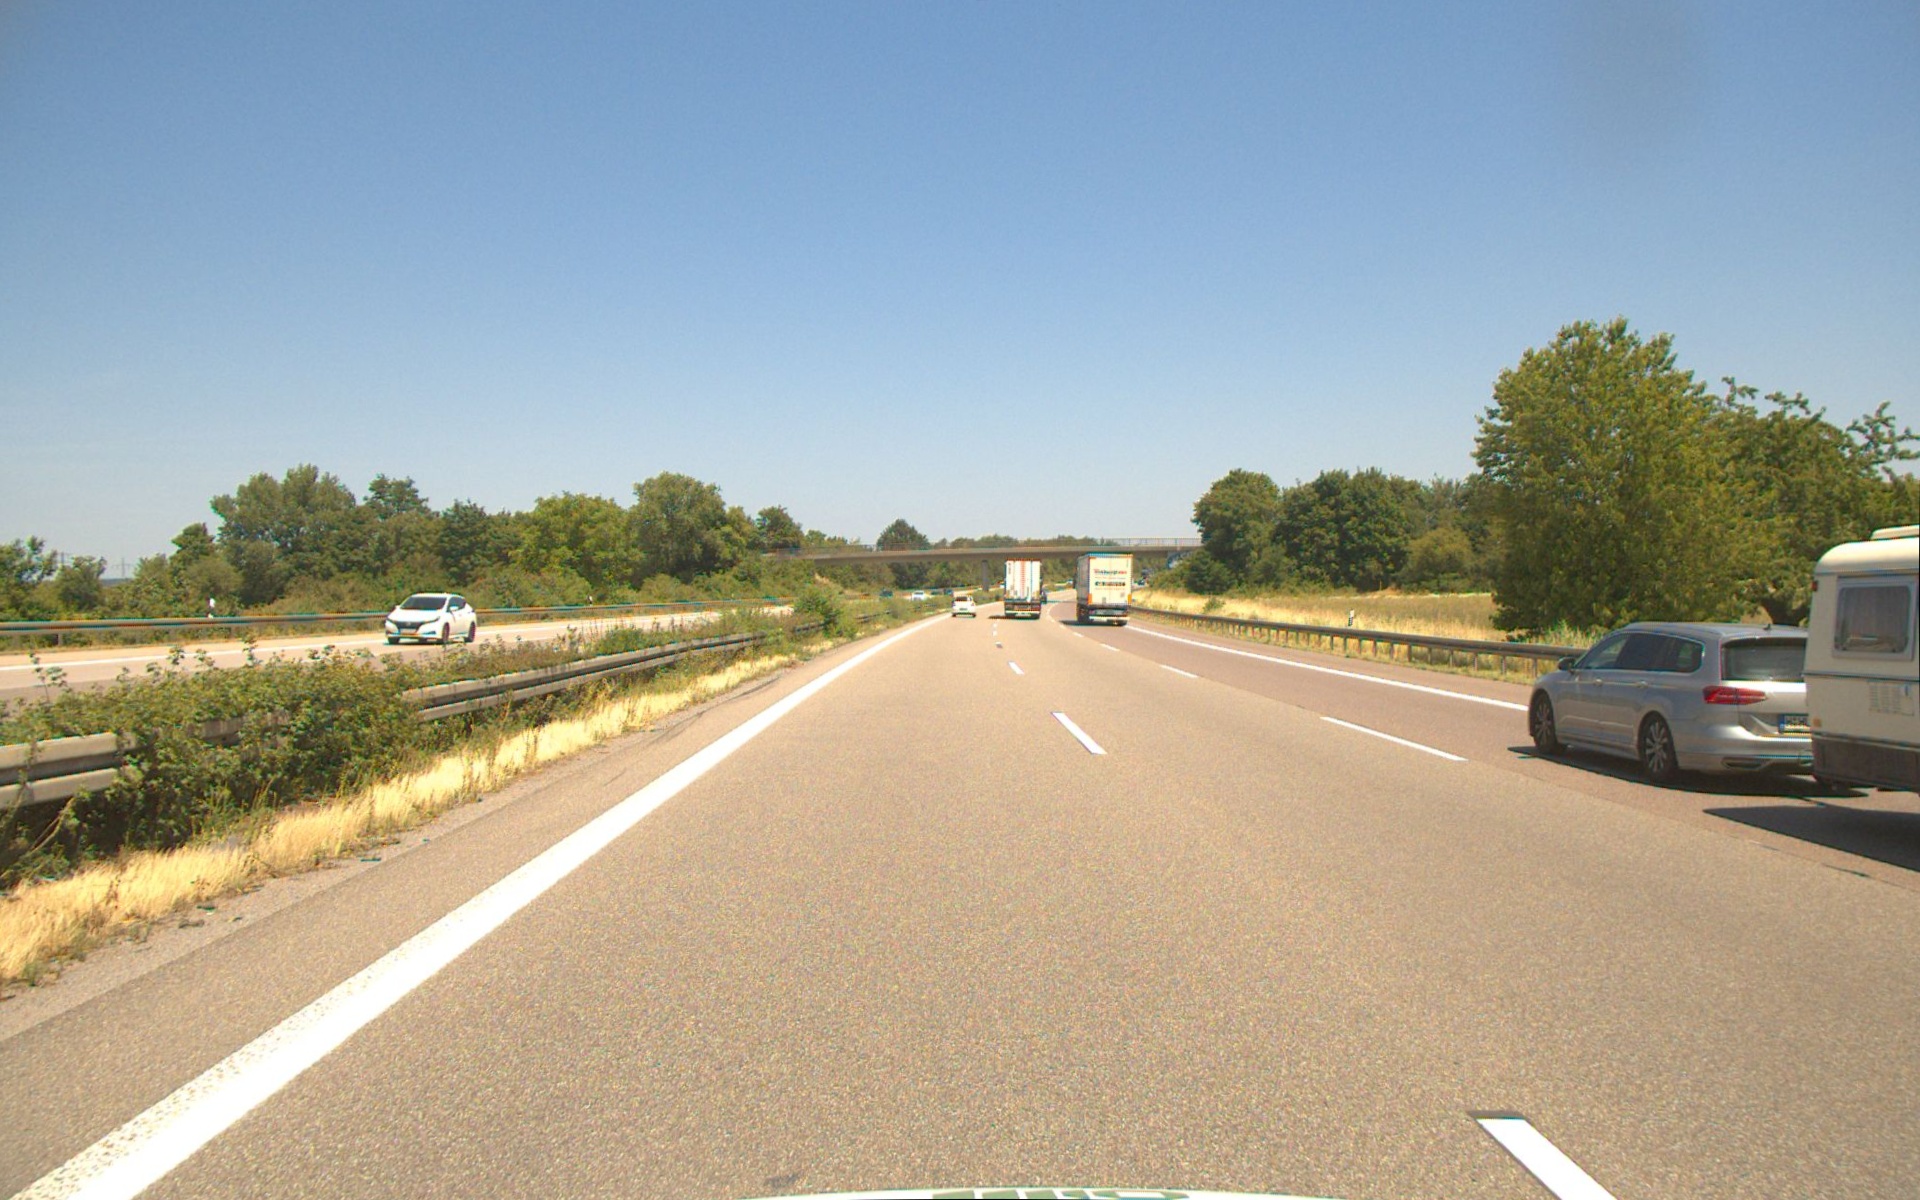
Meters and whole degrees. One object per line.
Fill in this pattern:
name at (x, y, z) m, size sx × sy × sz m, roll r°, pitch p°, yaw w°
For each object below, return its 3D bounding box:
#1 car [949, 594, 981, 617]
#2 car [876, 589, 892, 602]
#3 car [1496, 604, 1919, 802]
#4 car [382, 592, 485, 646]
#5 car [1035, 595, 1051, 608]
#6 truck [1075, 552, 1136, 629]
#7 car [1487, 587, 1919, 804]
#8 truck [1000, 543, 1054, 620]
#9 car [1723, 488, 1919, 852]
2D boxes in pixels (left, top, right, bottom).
car at (0.351, 0.372, 118.483) m, size 1.789 × 1.574 × 4.322 m, roll 1°, pitch 0°, yaw 7°
car at (-9.878, -0.640, 215.094) m, size 1.745 × 1.690 × 4.658 m, roll 0°, pitch 0°, yaw 1°
car at (7.174, 0.866, 16.368) m, size 1.849 × 1.542 × 5.378 m, roll 1°, pitch 0°, yaw -2°
car at (-16.704, 0.563, 52.710) m, size 1.711 × 1.567 × 4.827 m, roll 2°, pitch 1°, yaw 0°
car at (10.582, 0.136, 210.788) m, size 1.789 × 1.574 × 4.322 m, roll 1°, pitch 0°, yaw 7°
truck at (8.829, -0.675, 101.962) m, size 3.115 × 4.379 × 16.024 m, roll 1°, pitch 1°, yaw 3°
car at (7.225, 0.766, 16.432) m, size 2.004 × 1.687 × 5.508 m, roll 0°, pitch 1°, yaw -3°
truck at (4.858, -1.359, 119.141) m, size 3.590 × 5.106 × 16.023 m, roll 1°, pitch 1°, yaw 2°
car at (7.421, 0.440, 10.809) m, size 2.392 × 2.362 × 5.321 m, roll -1°, pitch 1°, yaw 0°
